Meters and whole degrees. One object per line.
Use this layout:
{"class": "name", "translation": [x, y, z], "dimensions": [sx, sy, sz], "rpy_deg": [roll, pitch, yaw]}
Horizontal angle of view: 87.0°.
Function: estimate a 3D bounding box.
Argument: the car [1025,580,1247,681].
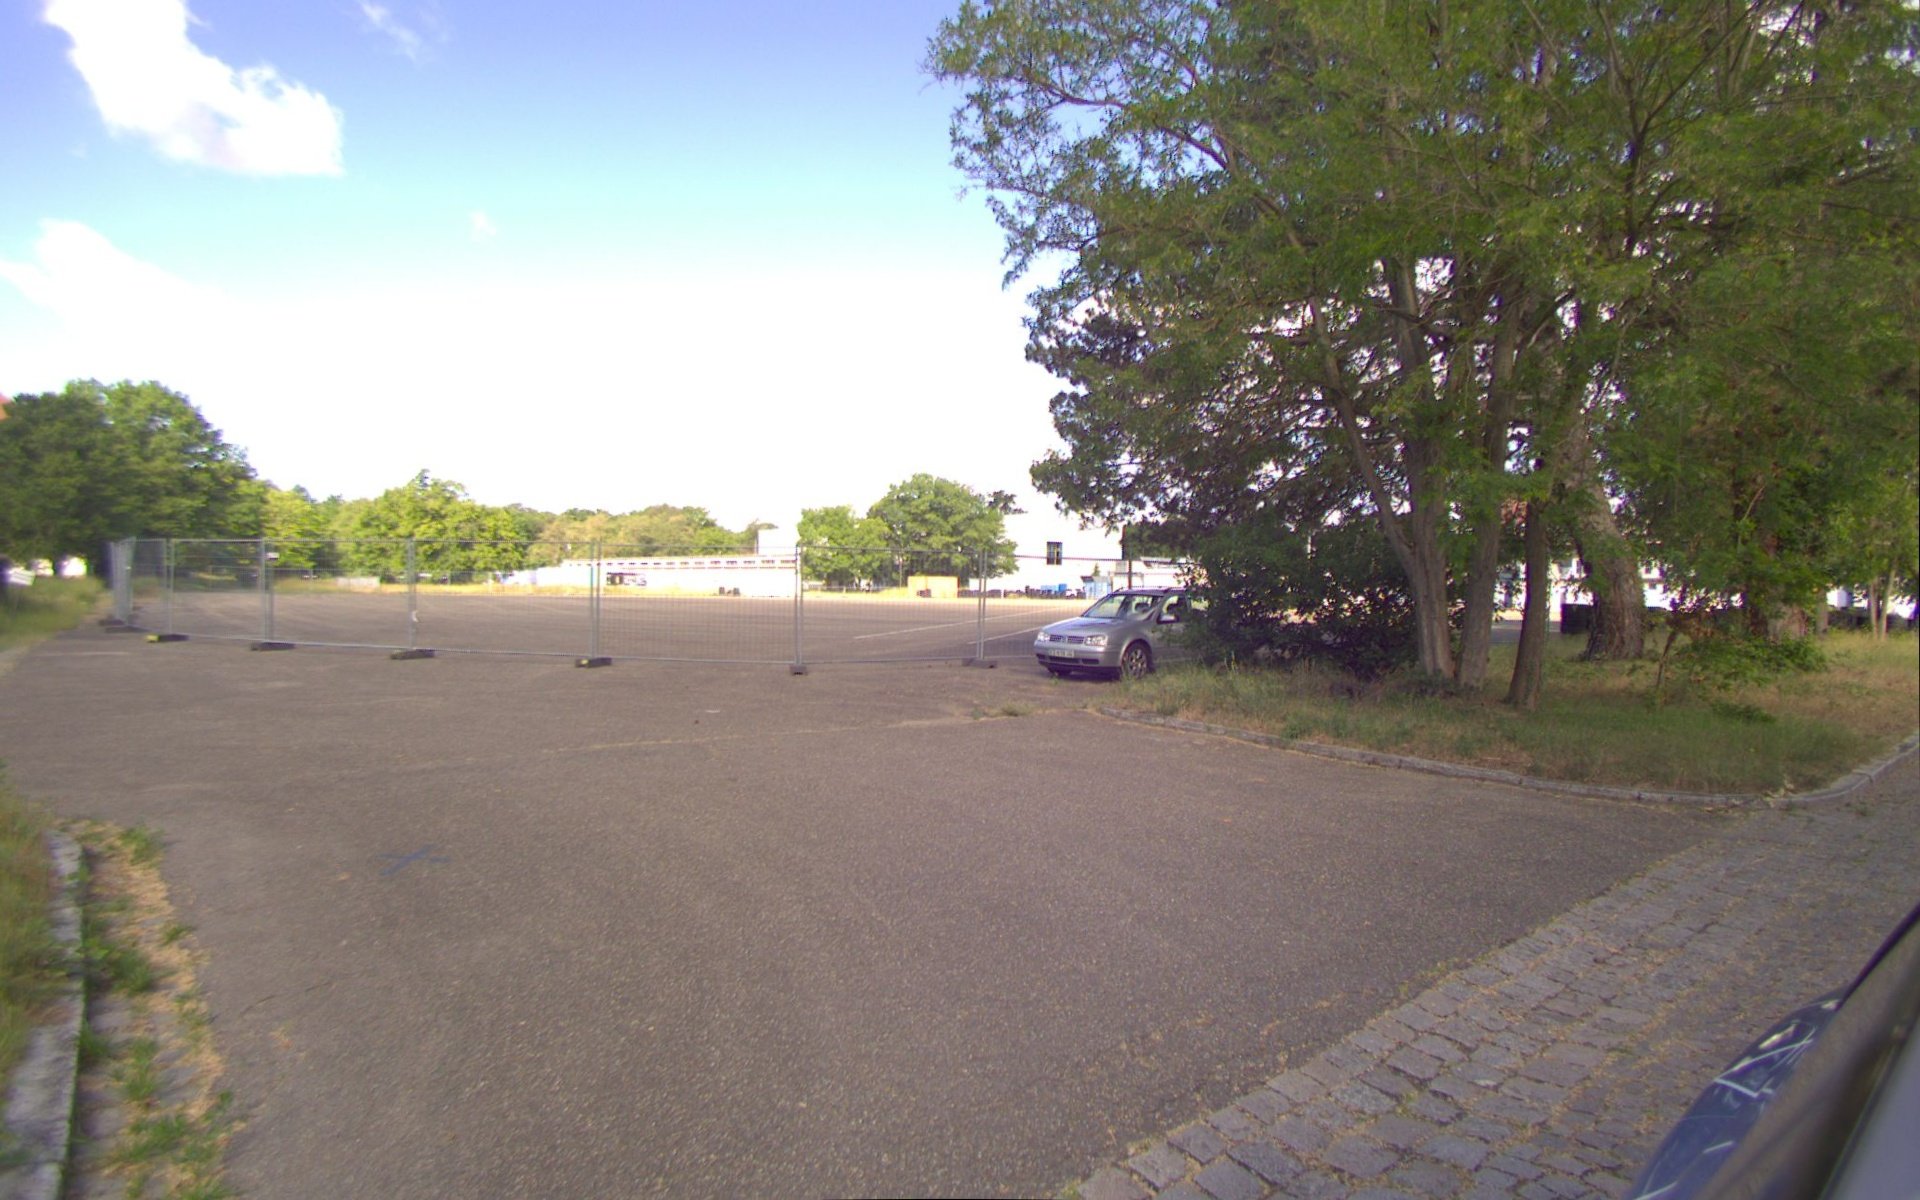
{"class": "car", "translation": [2.987, 0.434, 16.662], "dimensions": [3.920, 1.462, 1.576], "rpy_deg": [0, 1, -44]}
